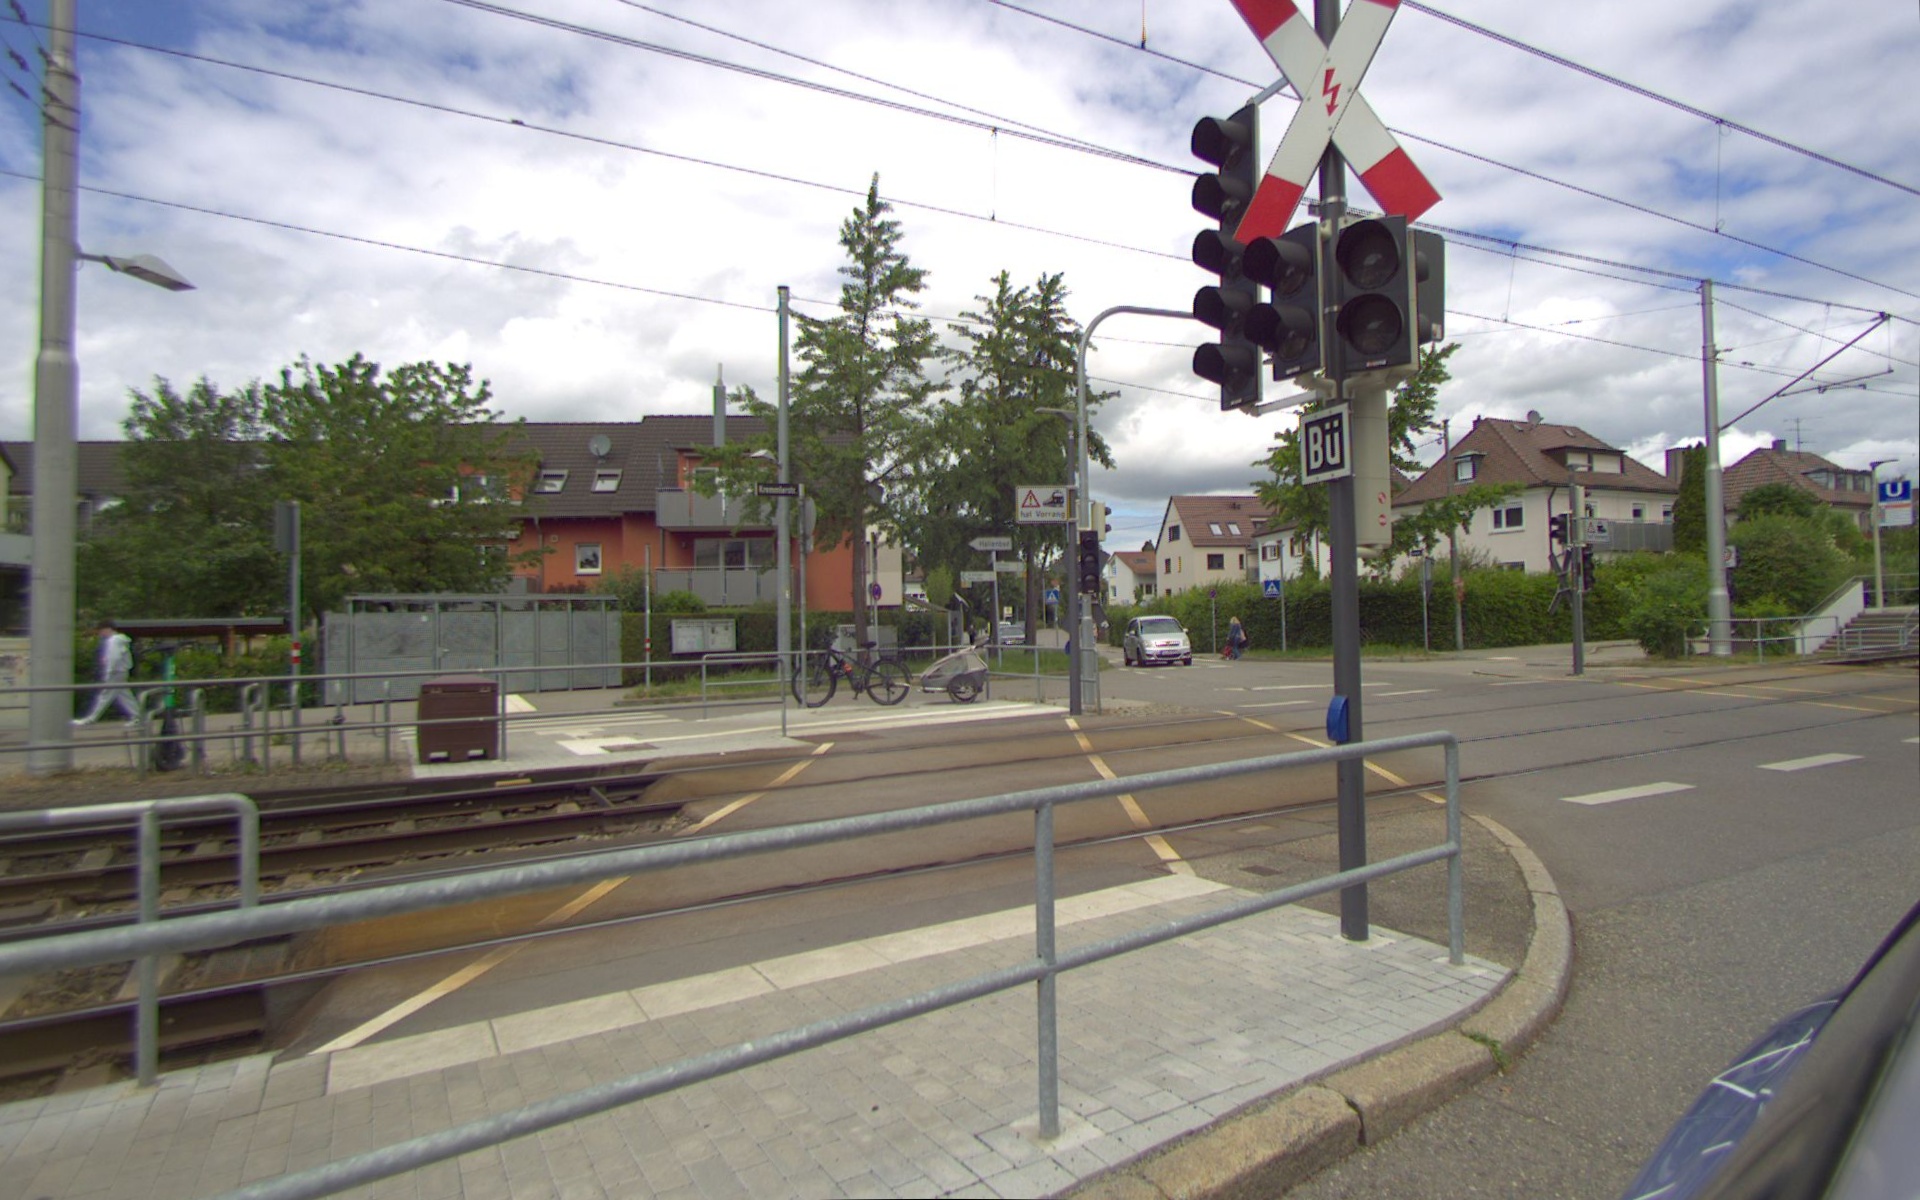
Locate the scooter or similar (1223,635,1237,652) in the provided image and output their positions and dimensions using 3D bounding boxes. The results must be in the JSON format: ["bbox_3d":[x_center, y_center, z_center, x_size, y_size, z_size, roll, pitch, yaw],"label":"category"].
[{"bbox_3d":[10.466,1.670,39.236,0.397,0.617,0.484,-5,-2,29],"label":"scooter or similar"}]

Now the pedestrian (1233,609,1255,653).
[{"bbox_3d":[10.986,1.201,39.137,0.593,1.641,0.670,-5,-2,29],"label":"pedestrian"}]

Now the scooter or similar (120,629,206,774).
[{"bbox_3d":[-7.815,0.960,9.958,0.480,1.333,1.052,1,-2,-29],"label":"scooter or similar"}]

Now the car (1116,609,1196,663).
[{"bbox_3d":[6.237,1.133,32.568,1.694,1.588,3.926,-2,-2,-1],"label":"car"}]

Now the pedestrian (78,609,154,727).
[{"bbox_3d":[-14.315,1.127,17.174,0.621,1.939,0.820,-2,-2,35],"label":"pedestrian"}]

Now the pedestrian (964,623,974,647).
[{"bbox_3d":[0.617,2.495,72.150,0.665,1.690,0.660,0,-2,-1],"label":"pedestrian"}]

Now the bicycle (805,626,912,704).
[{"bbox_3d":[-1.634,1.024,16.173,1.657,1.170,0.467,-1,-2,-9],"label":"bicycle"}]

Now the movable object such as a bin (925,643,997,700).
[{"bbox_3d":[0.007,1.125,15.996,1.072,0.835,0.580,-2,-2,-6],"label":"movable object such as a bin"}]

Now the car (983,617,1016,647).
[{"bbox_3d":[2.852,2.348,74.552,1.961,2.039,5.566,-3,-2,-2],"label":"car"}]

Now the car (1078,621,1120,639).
[{"bbox_3d":[14.042,3.053,102.474,3.925,1.750,1.883,-1,-2,2],"label":"car"}]

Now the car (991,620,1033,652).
[{"bbox_3d":[2.901,2.016,57.088,1.816,1.657,4.467,-2,-2,-3],"label":"car"}]

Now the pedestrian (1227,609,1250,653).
[{"bbox_3d":[10.587,1.172,38.468,0.593,1.641,0.670,-5,-2,29],"label":"pedestrian"}]
